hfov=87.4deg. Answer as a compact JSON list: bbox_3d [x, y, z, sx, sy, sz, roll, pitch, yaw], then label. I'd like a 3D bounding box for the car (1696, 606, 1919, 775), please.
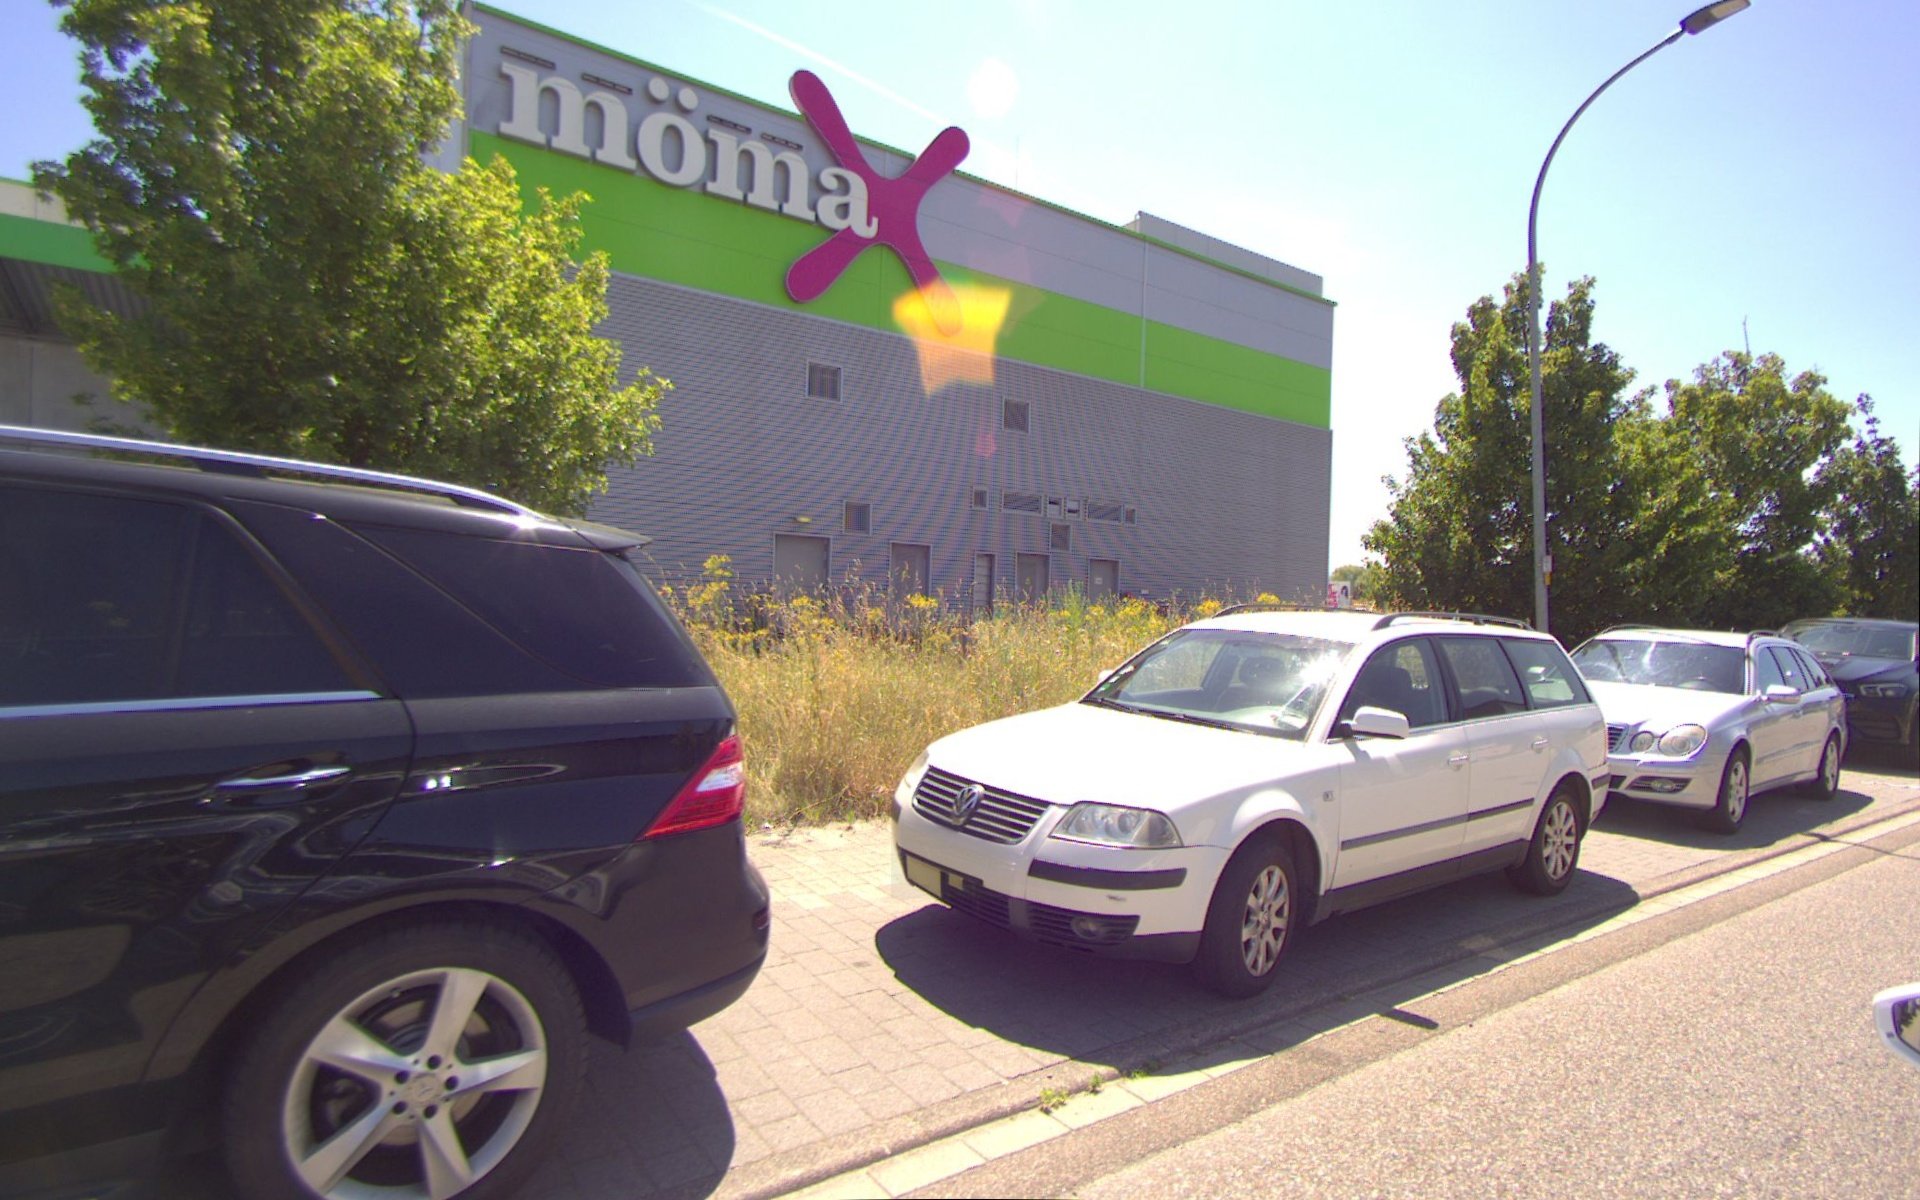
[{"bbox_3d":[11.732,1.059,13.061,4.958,1.736,1.978,2,1,-35],"label":"car"}]

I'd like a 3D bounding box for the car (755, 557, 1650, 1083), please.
[{"bbox_3d":[1.590,0.687,5.183,4.862,1.539,1.837,2,1,-38],"label":"car"}]

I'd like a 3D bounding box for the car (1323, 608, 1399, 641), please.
[{"bbox_3d":[21.251,1.298,53.139,3.964,1.565,1.978,2,0,-38],"label":"car"}]

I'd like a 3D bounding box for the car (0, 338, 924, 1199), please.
[{"bbox_3d":[-2.670,0.390,2.149,4.937,1.782,1.839,2,1,-35],"label":"car"}]

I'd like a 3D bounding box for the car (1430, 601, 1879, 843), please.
[{"bbox_3d":[6.414,0.887,8.998,5.121,1.539,1.837,2,1,-38],"label":"car"}]

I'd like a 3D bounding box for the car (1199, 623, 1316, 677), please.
[{"bbox_3d":[8.258,1.376,27.813,3.207,1.370,1.421,2,-1,-35],"label":"car"}]
